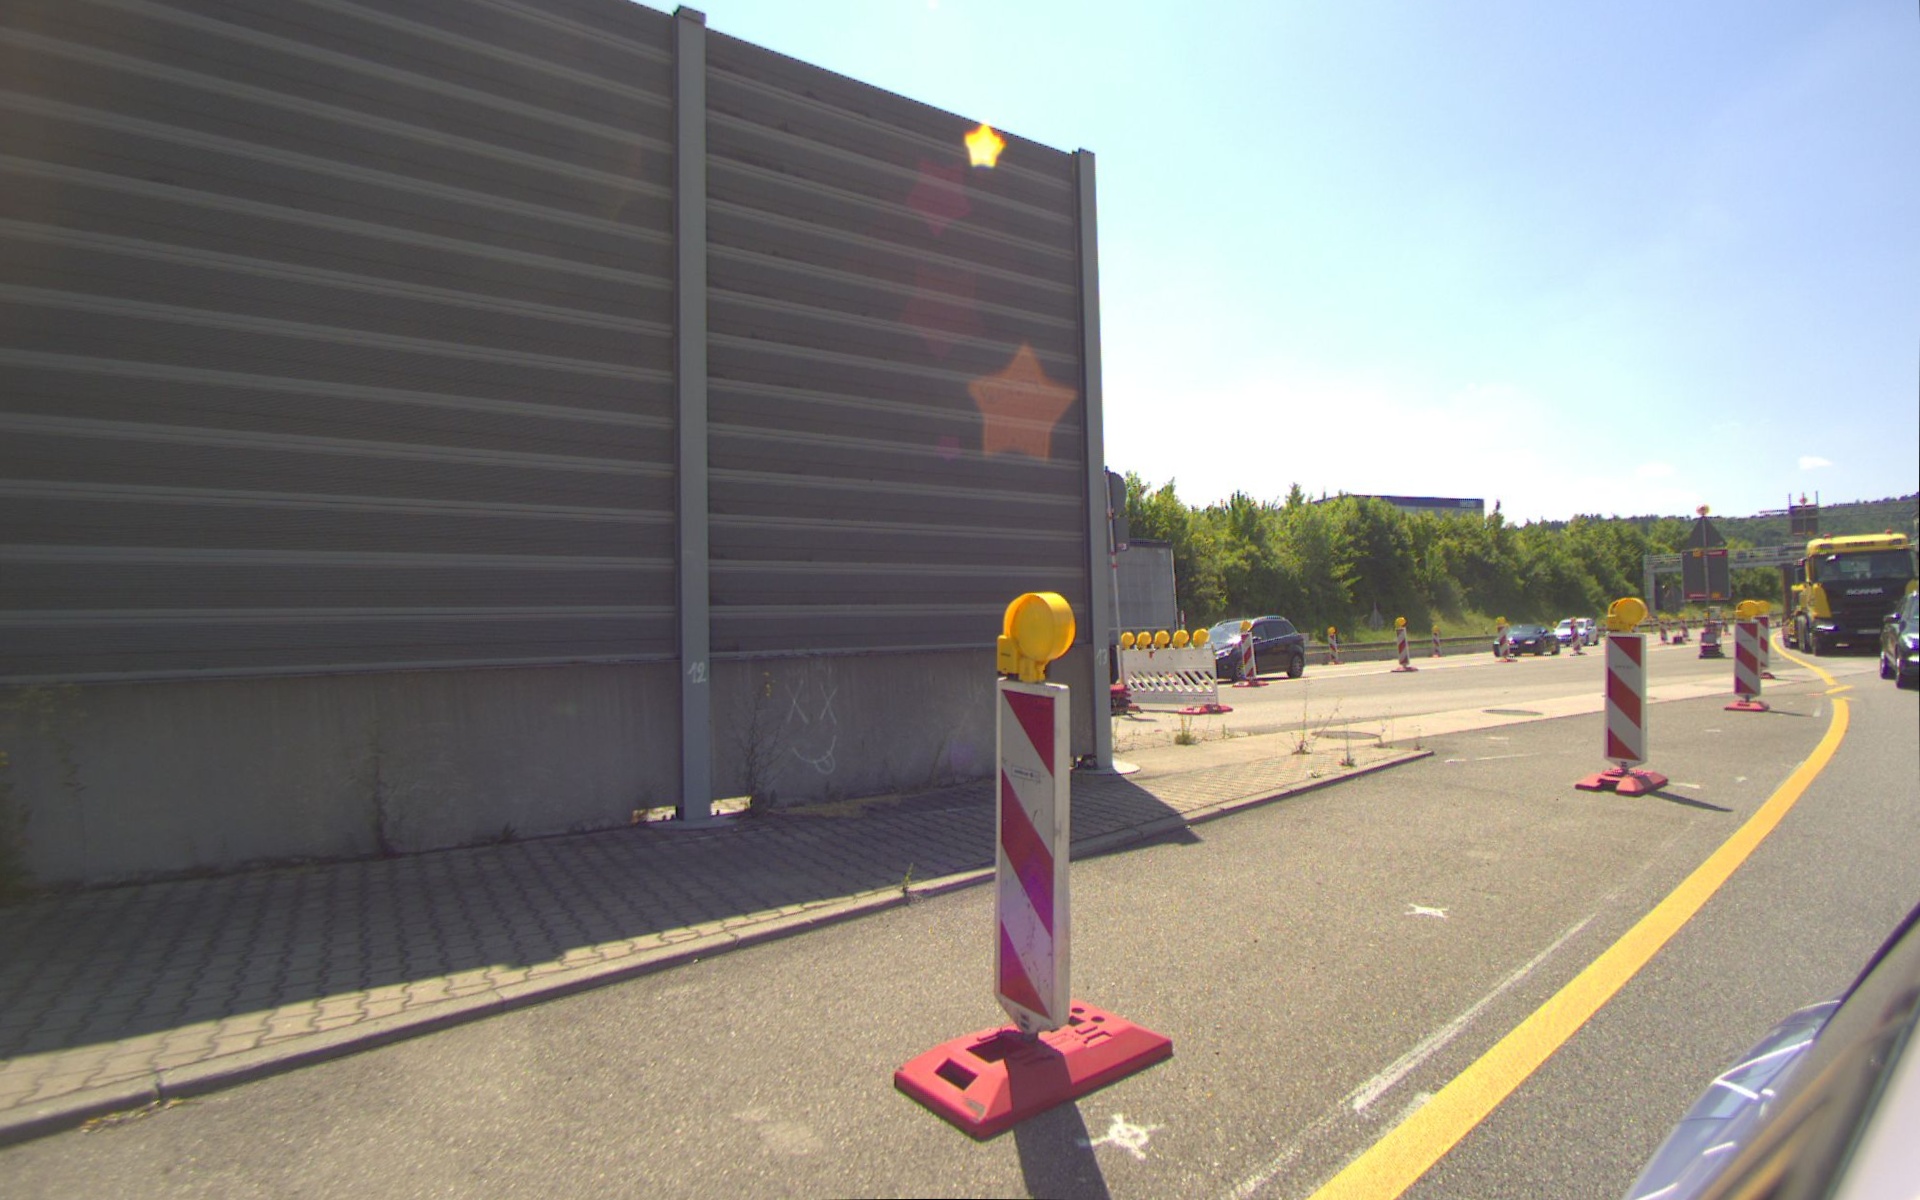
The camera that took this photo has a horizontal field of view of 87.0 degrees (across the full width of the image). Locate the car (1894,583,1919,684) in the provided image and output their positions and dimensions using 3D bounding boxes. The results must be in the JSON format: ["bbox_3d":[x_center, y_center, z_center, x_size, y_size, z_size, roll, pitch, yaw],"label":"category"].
[{"bbox_3d":[18.363,0.557,18.324,1.812,1.717,4.429,-1,0,39],"label":"car"}]

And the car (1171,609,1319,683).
[{"bbox_3d":[7.751,1.211,27.322,4.420,1.717,1.815,-1,-4,-45],"label":"car"}]

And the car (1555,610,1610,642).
[{"bbox_3d":[37.458,1.551,60.844,1.814,1.717,4.422,-6,-3,44],"label":"car"}]

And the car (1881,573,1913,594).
[{"bbox_3d":[108.372,-1.899,117.026,2.434,2.120,5.224,-6,-3,44],"label":"car"}]

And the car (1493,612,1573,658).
[{"bbox_3d":[24.673,1.483,43.538,1.814,1.717,4.422,-7,-4,44],"label":"car"}]

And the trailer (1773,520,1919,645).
[{"bbox_3d":[33.811,-0.401,38.669,3.218,3.716,17.190,-5,-4,36],"label":"trailer"}]

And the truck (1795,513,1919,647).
[{"bbox_3d":[28.792,-0.518,31.831,3.212,3.709,6.988,-5,-4,36],"label":"truck"}]

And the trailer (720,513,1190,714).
[{"bbox_3d":[0.708,0.314,25.741,13.633,4.005,2.542,0,-4,-43],"label":"trailer"}]
